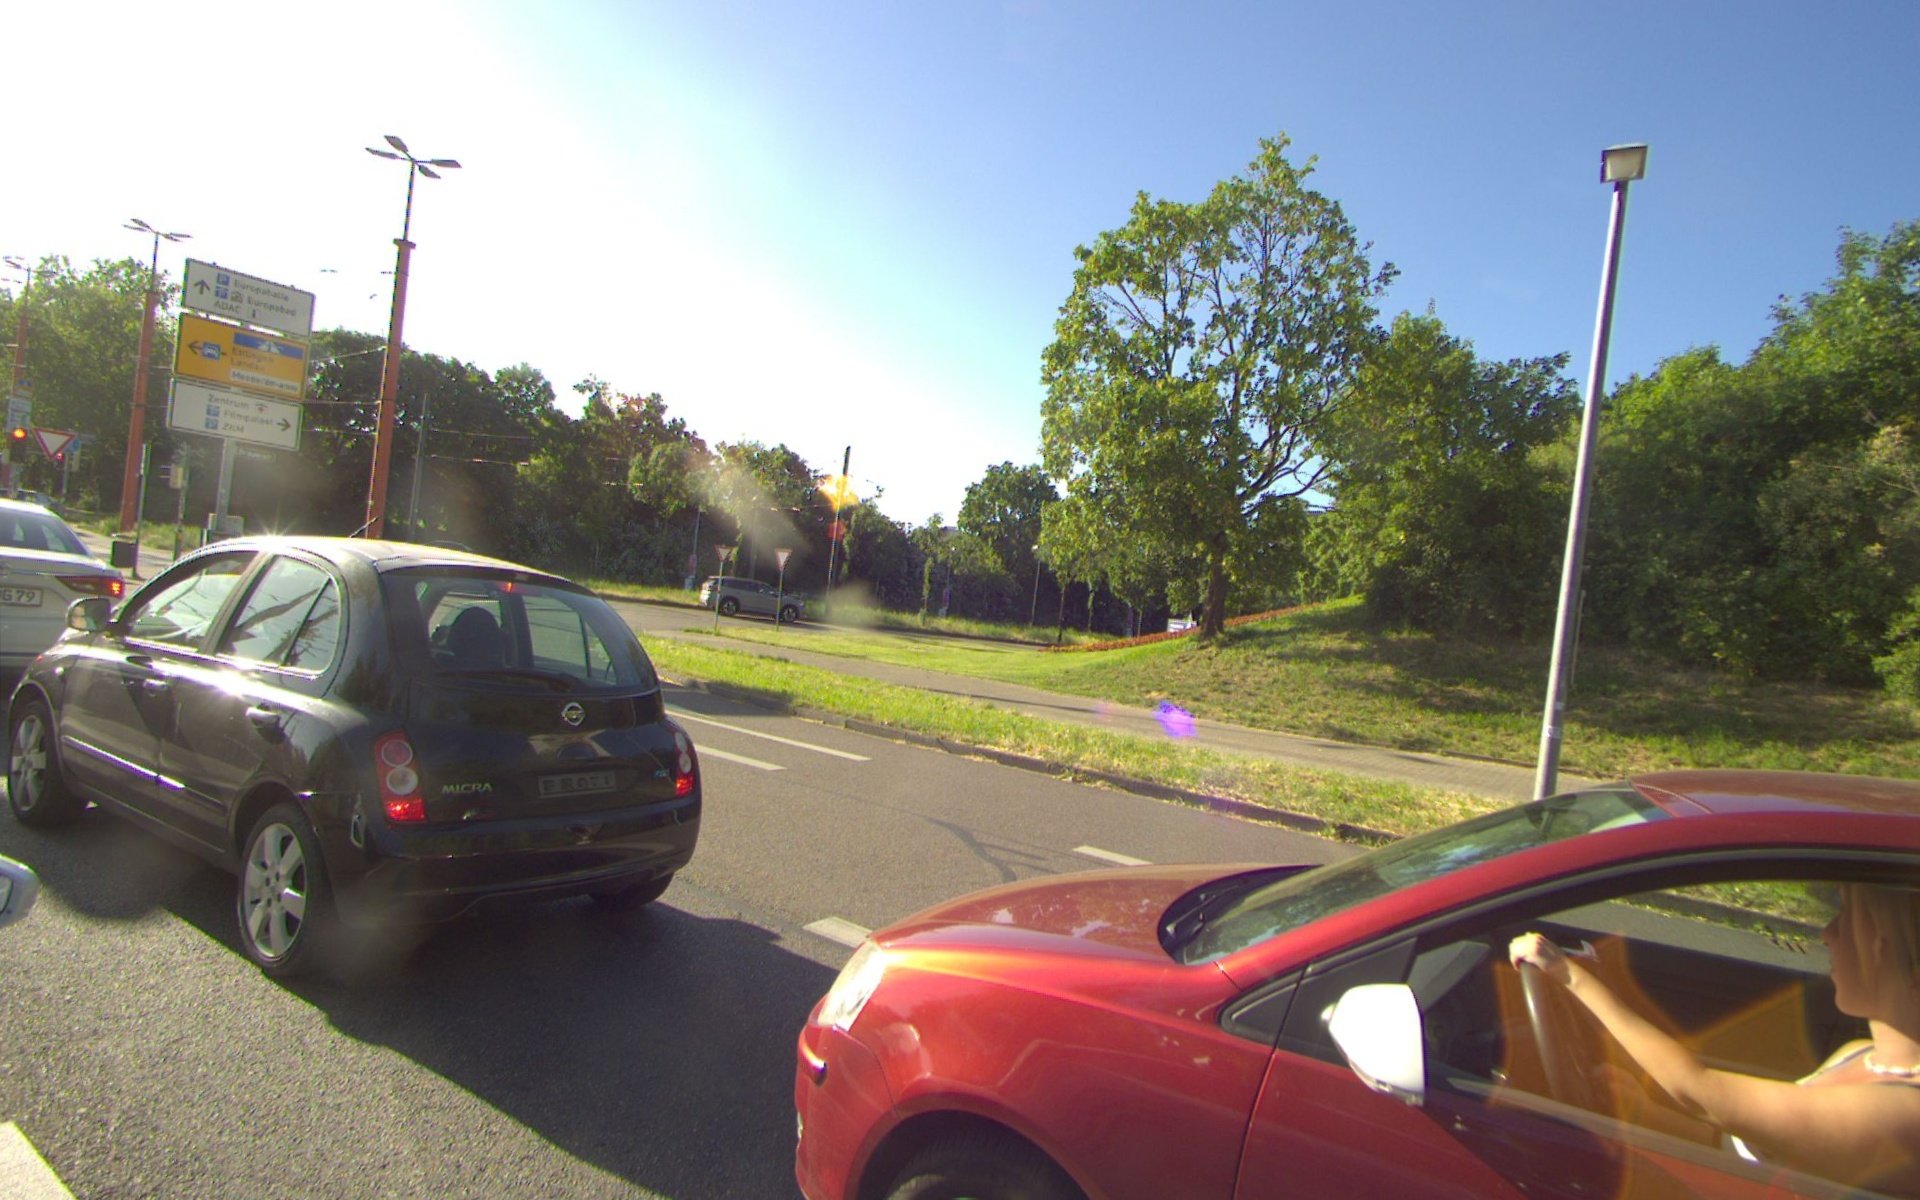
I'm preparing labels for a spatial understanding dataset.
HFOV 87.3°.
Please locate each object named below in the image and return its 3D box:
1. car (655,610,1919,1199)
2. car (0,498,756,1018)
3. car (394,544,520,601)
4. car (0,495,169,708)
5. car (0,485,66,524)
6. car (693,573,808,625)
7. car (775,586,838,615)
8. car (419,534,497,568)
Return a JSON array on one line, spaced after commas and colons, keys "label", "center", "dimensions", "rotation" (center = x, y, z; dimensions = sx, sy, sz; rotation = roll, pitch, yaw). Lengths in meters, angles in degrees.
[{"label": "car", "center": [1.338, 0.999, 1.865], "dimensions": [3.629, 1.477, 1.579], "rotation": [6, -2, 32]}, {"label": "car", "center": [-2.805, 0.464, 4.621], "dimensions": [3.385, 1.457, 1.579], "rotation": [6, -2, 32]}, {"label": "car", "center": [-17.938, -0.983, 35.923], "dimensions": [3.802, 1.458, 1.644], "rotation": [8, -1, -31]}, {"label": "car", "center": [-8.377, -0.178, 8.076], "dimensions": [4.256, 1.457, 1.802], "rotation": [6, -2, 33]}, {"label": "car", "center": [-46.595, -4.815, 49.305], "dimensions": [3.764, 1.528, 1.644], "rotation": [8, -1, -31]}, {"label": "car", "center": [-9.280, -0.045, 44.690], "dimensions": [4.592, 1.666, 1.645], "rotation": [8, -1, -29]}, {"label": "car", "center": [-10.357, 0.015, 67.979], "dimensions": [3.774, 1.419, 1.639], "rotation": [9, -1, -38]}, {"label": "car", "center": [-29.653, -2.898, 59.410], "dimensions": [3.774, 1.419, 1.639], "rotation": [9, -1, -38]}]
